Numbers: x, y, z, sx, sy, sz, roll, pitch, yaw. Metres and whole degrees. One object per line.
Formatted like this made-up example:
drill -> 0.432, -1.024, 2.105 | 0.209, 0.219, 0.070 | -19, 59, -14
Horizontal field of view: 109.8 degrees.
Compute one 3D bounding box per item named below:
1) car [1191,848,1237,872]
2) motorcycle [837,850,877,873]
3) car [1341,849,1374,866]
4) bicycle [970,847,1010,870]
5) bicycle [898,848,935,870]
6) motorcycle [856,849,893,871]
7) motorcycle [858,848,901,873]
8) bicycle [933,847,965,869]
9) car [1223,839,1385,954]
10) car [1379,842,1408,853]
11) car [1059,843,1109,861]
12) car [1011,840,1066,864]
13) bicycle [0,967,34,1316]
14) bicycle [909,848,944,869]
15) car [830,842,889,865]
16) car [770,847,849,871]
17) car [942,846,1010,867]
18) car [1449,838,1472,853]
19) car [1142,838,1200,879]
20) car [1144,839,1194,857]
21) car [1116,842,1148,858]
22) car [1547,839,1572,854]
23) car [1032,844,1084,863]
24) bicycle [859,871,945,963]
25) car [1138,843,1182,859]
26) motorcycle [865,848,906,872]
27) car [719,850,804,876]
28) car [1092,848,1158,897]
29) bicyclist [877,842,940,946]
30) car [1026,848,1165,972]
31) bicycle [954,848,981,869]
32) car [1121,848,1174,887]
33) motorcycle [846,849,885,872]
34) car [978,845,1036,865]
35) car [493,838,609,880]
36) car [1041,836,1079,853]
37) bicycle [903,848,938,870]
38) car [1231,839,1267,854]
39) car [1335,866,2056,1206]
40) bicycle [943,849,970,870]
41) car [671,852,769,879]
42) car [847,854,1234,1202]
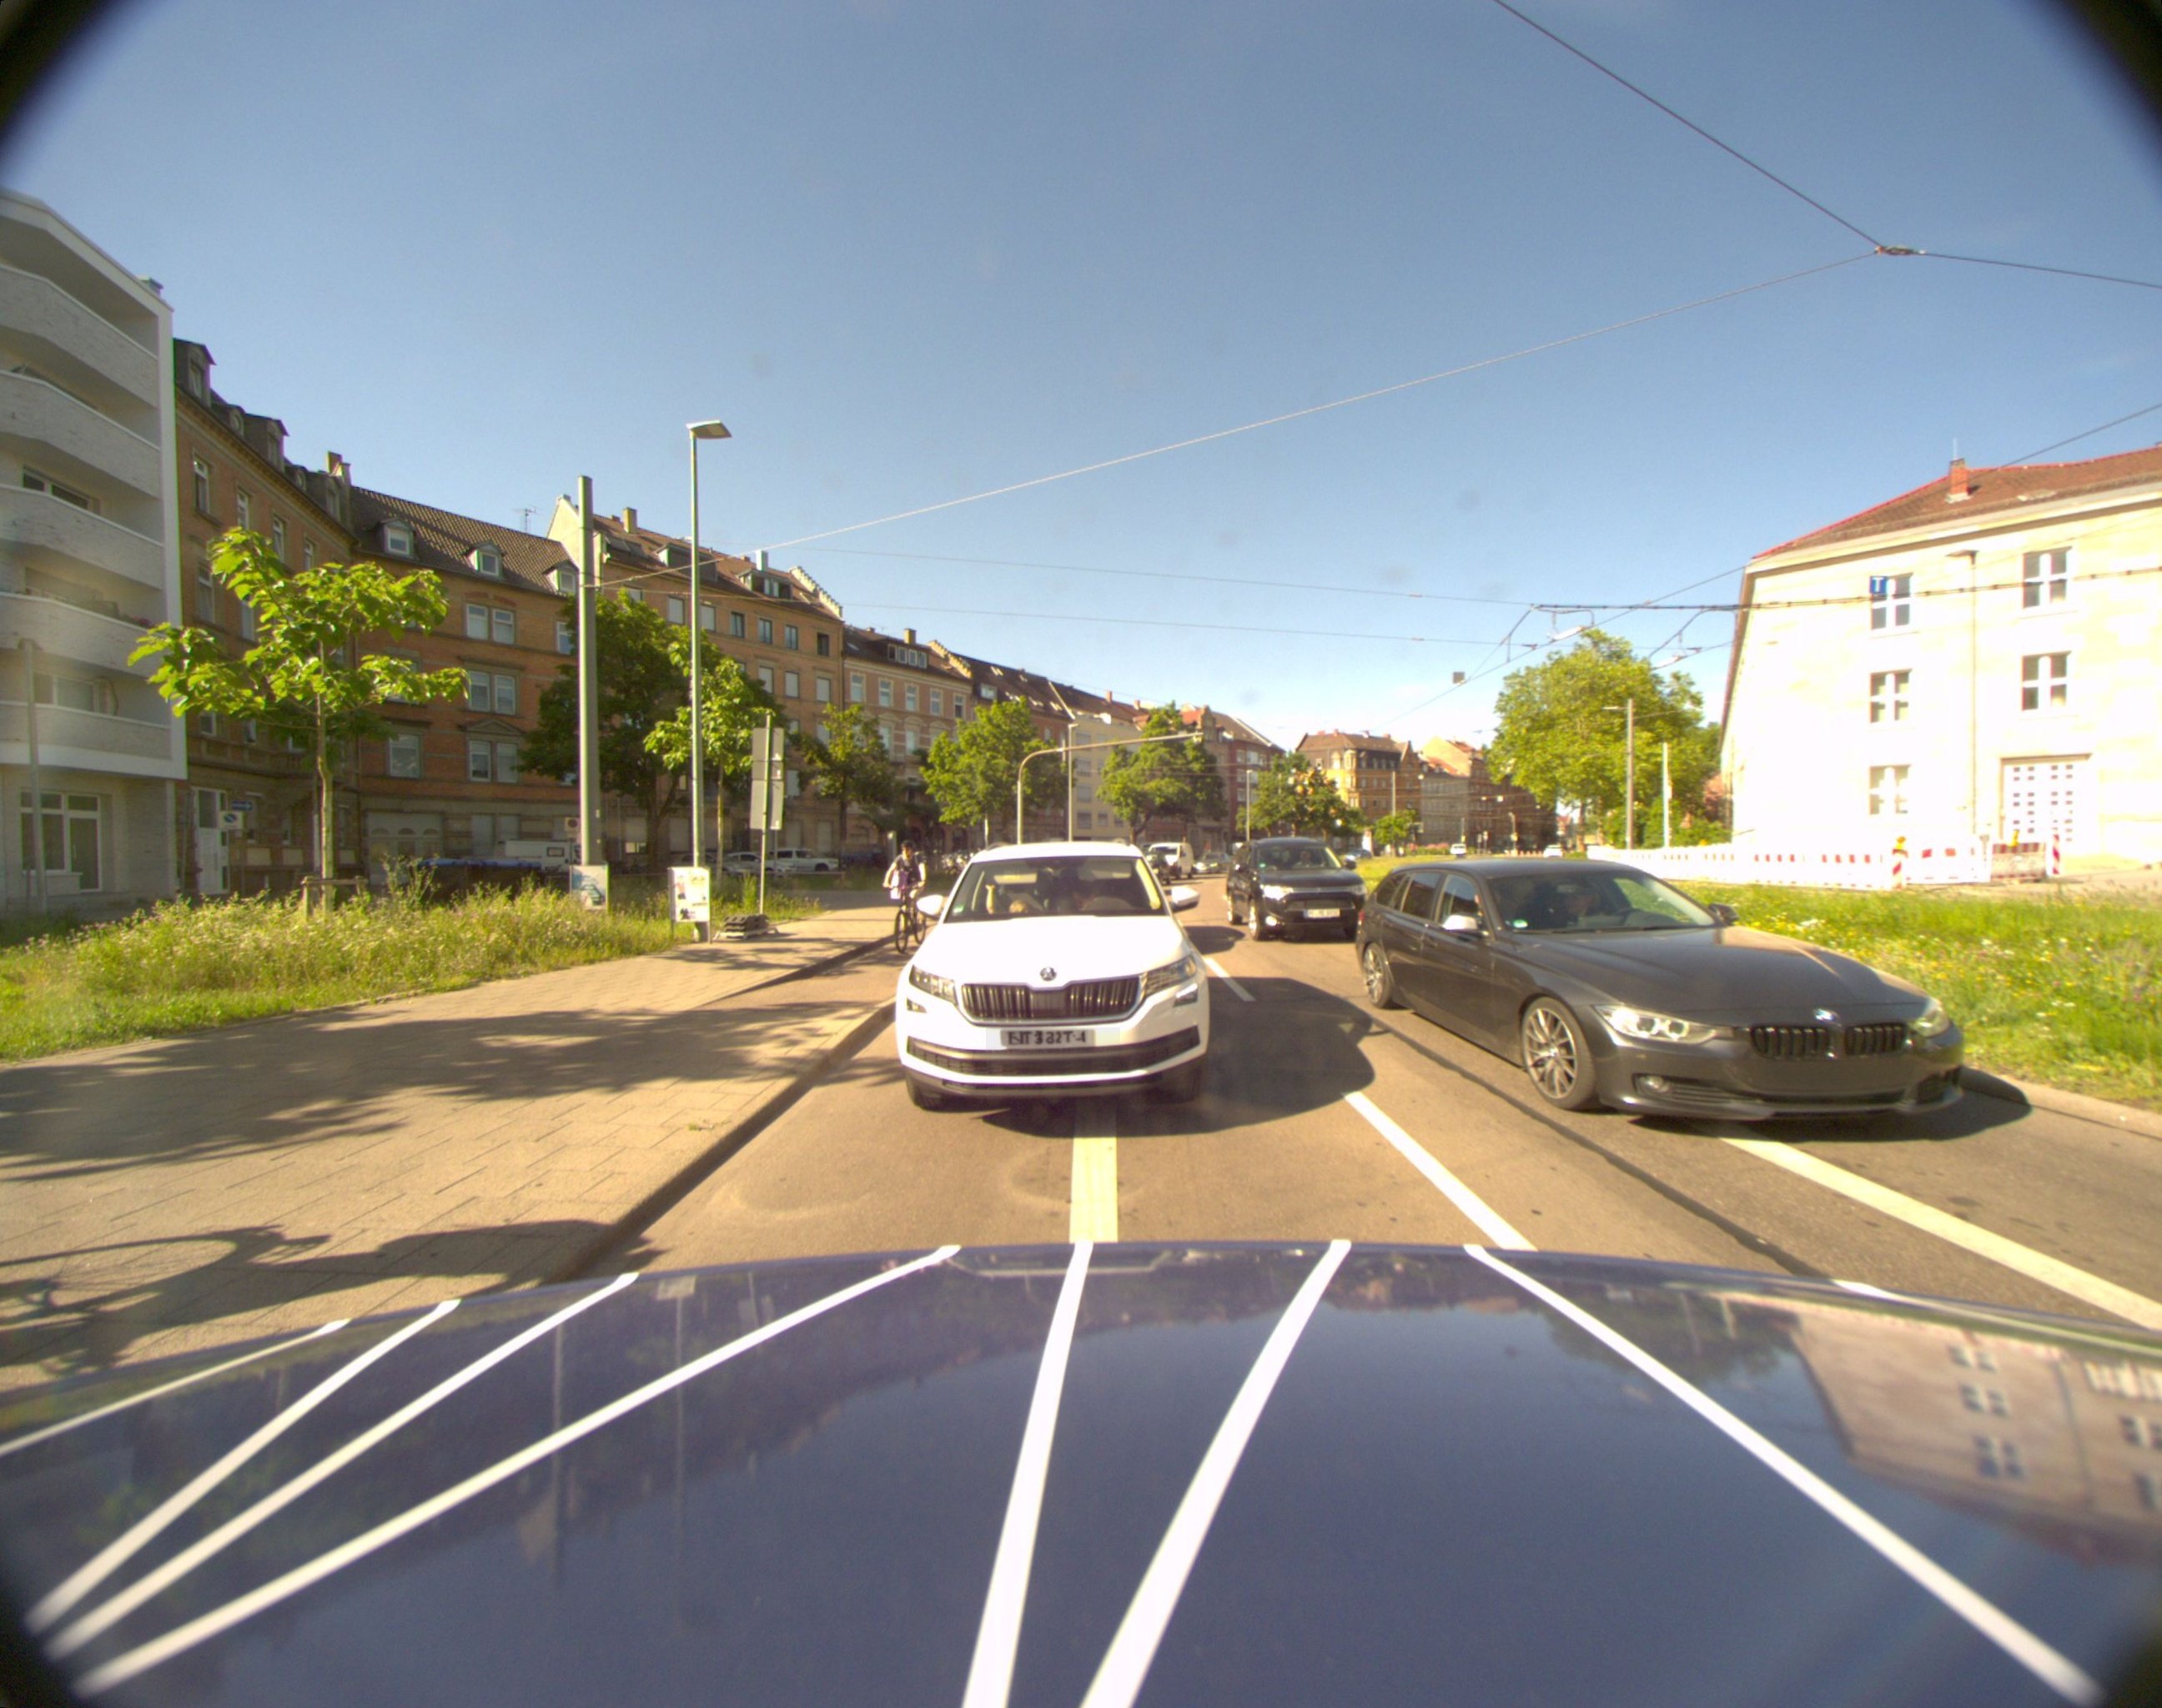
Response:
car -> 8.879, 0.358, 50.493 | 1.836, 1.464, 4.721 | 0, 1, 26
motorcycle -> -13.294, 0.435, 45.015 | 2.314, 1.270, 0.664 | -2, 1, 24
car -> 28.006, 0.355, 76.873 | 1.835, 1.637, 4.157 | 1, 2, 40
bicycle -> -5.481, 0.264, 45.735 | 2.207, 1.260, 0.662 | -3, 1, -25
bicycle -> -9.748, 0.303, 45.066 | 2.198, 1.260, 0.664 | -2, 1, 30
motorcycle -> -12.607, 0.398, 46.400 | 2.199, 1.260, 0.664 | -2, 1, 24
motorcycle -> -11.184, 0.371, 42.203 | 2.200, 1.322, 0.663 | -2, 1, 13
bicycle -> -7.734, 0.237, 44.514 | 0.664, 1.260, 2.198 | -3, 1, -45
car -> 3.692, 0.624, 13.394 | 1.841, 1.636, 4.399 | -2, 0, 5
car -> 49.703, -1.044, 120.717 | 3.989, 1.641, 1.866 | -2, 1, 31
car -> 0.255, -0.163, 61.160 | 3.823, 1.398, 1.600 | 0, 1, 6
car -> -3.113, -0.140, 56.100 | 3.825, 1.698, 1.682 | 0, 1, 3
bicycle -> -4.296, 1.011, 1.708 | 0.668, 1.190, 2.156 | -1, 1, 14
bicycle -> -9.515, 0.276, 46.708 | 2.198, 1.260, 0.664 | -2, 1, 32
car -> -15.615, -0.061, 53.667 | 1.547, 1.578, 3.709 | 1, 2, 41
car -> -14.686, 0.252, 41.191 | 3.700, 1.244, 1.540 | 0, 1, 2
car -> -7.048, 0.171, 51.291 | 4.322, 1.398, 1.682 | 0, 1, 3
car -> 52.068, -1.208, 104.117 | 1.994, 1.864, 4.599 | -1, 1, 37
car -> 4.963, 0.170, 41.312 | 1.979, 2.074, 4.720 | 0, 1, 22
car -> 8.193, -0.592, 70.605 | 4.578, 1.658, 1.600 | 0, 1, 7
car -> 5.464, -0.426, 80.723 | 1.547, 1.578, 3.607 | 1, 2, 41
car -> 52.796, -0.818, 83.799 | 1.820, 1.636, 4.190 | -1, 0, 39
car -> -1.781, -0.058, 58.708 | 3.823, 1.398, 1.600 | 0, 1, 6
bicycle -> -2.941, 0.995, 12.700 | 0.736, 1.353, 2.076 | -1, 1, 6
car -> 7.121, -0.252, 68.175 | 3.823, 1.372, 1.600 | 0, 1, 9
motorcycle -> -11.154, 0.354, 43.289 | 2.200, 1.315, 0.664 | -2, 1, 18
car -> -16.412, 0.436, 39.102 | 3.696, 1.244, 1.683 | 0, 1, 13
car -> 1.638, 0.596, 26.953 | 1.838, 1.543, 4.151 | 0, 1, 10
bicyclist -> -2.901, 0.644, 12.850 | 0.735, 1.685, 0.972 | -1, 1, 5
car -> 0.230, 0.760, 12.604 | 1.842, 1.636, 4.397 | -2, 0, 1
bicycle -> -7.128, 0.304, 47.750 | 0.664, 1.260, 2.199 | -3, 1, -36
car -> 3.118, 0.554, 34.862 | 1.837, 1.637, 4.152 | 0, 1, 14
motorcycle -> -12.945, 0.411, 45.621 | 2.314, 1.276, 0.664 | -2, 1, 24
car -> -5.232, 0.083, 53.961 | 3.822, 1.398, 1.683 | 0, 1, 9
car -> -27.123, 0.213, 39.006 | 2.047, 2.026, 4.510 | 1, 2, 41
car -> -1.944, -0.946, 71.661 | 1.547, 1.578, 3.607 | 1, 2, 41
bicycle -> -9.712, 0.291, 46.005 | 2.198, 1.260, 0.664 | -2, 1, 32
car -> 18.689, -0.824, 84.654 | 3.823, 1.581, 1.600 | 0, 1, 6
car -> 3.473, 0.848, 5.590 | 1.741, 1.359, 4.426 | -2, 0, 1
bicycle -> -7.691, 0.337, 46.756 | 0.664, 1.260, 2.199 | -3, 1, -36
car -> -17.505, 0.530, 36.902 | 4.156, 1.244, 1.683 | 0, 1, 13
car -> -0.233, 0.853, 5.946 | 1.842, 1.636, 4.397 | -2, 0, -1
